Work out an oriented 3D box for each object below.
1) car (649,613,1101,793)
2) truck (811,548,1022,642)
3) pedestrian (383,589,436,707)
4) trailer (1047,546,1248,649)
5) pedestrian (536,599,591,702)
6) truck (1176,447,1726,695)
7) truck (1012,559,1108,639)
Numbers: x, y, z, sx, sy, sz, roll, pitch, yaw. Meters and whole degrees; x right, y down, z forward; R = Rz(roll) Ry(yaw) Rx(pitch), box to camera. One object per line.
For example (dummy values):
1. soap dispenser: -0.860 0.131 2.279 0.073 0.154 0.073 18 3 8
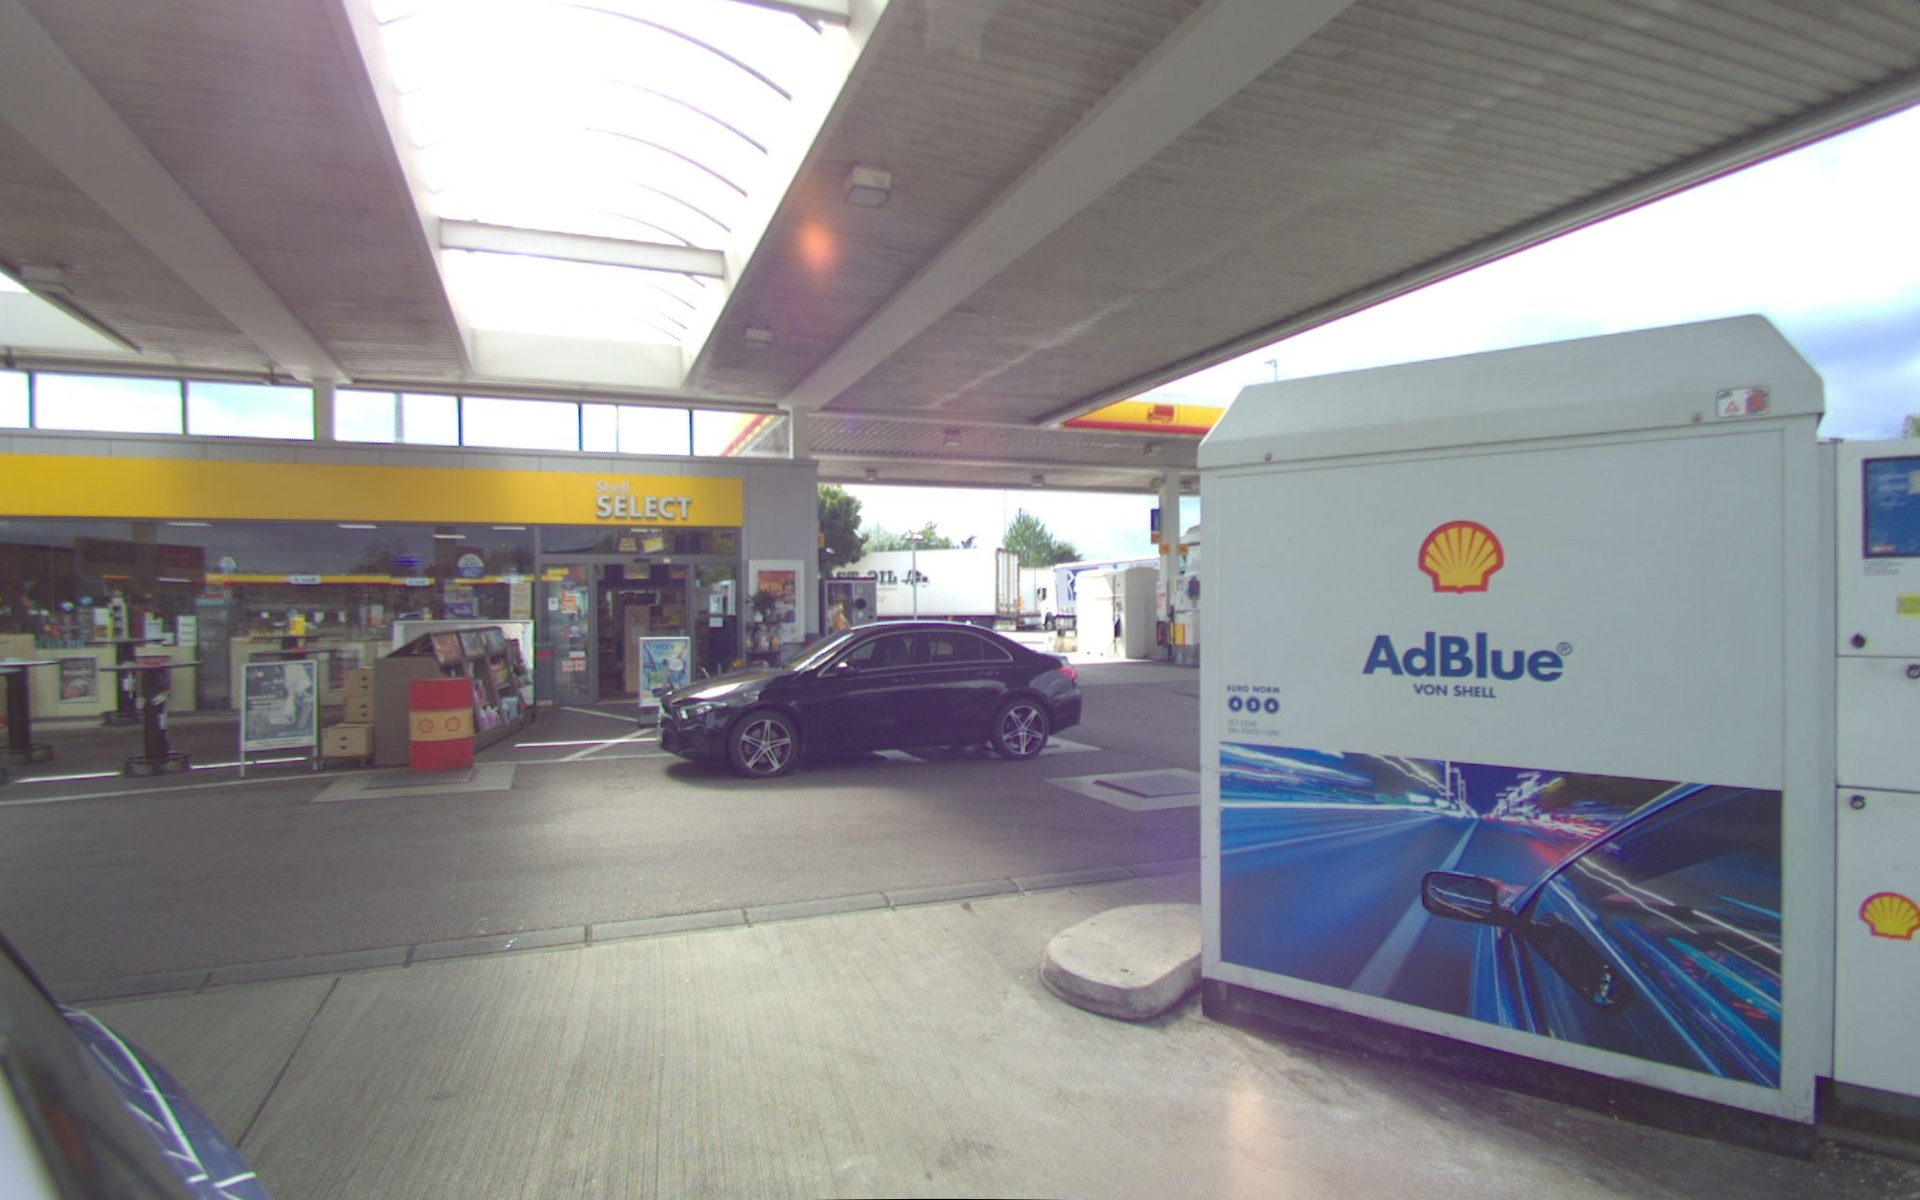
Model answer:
1. car: -0.902 0.939 10.663 4.394 1.511 1.785 -1 0 -21
2. truck: -2.085 -0.184 46.806 9.536 4.036 2.772 -1 0 25
3. pedestrian: -9.123 0.782 16.769 0.506 1.920 0.576 -1 0 25
4. trailer: 9.123 -0.102 52.640 3.294 4.600 14.397 -1 0 -20
5. pedestrian: -6.808 0.849 17.401 0.617 1.726 0.624 -1 0 17
6. truck: 9.675 -0.467 23.069 2.491 4.069 12.947 -1 0 -22
7. truck: 5.946 -0.052 61.188 3.333 4.538 6.249 -1 0 -20
